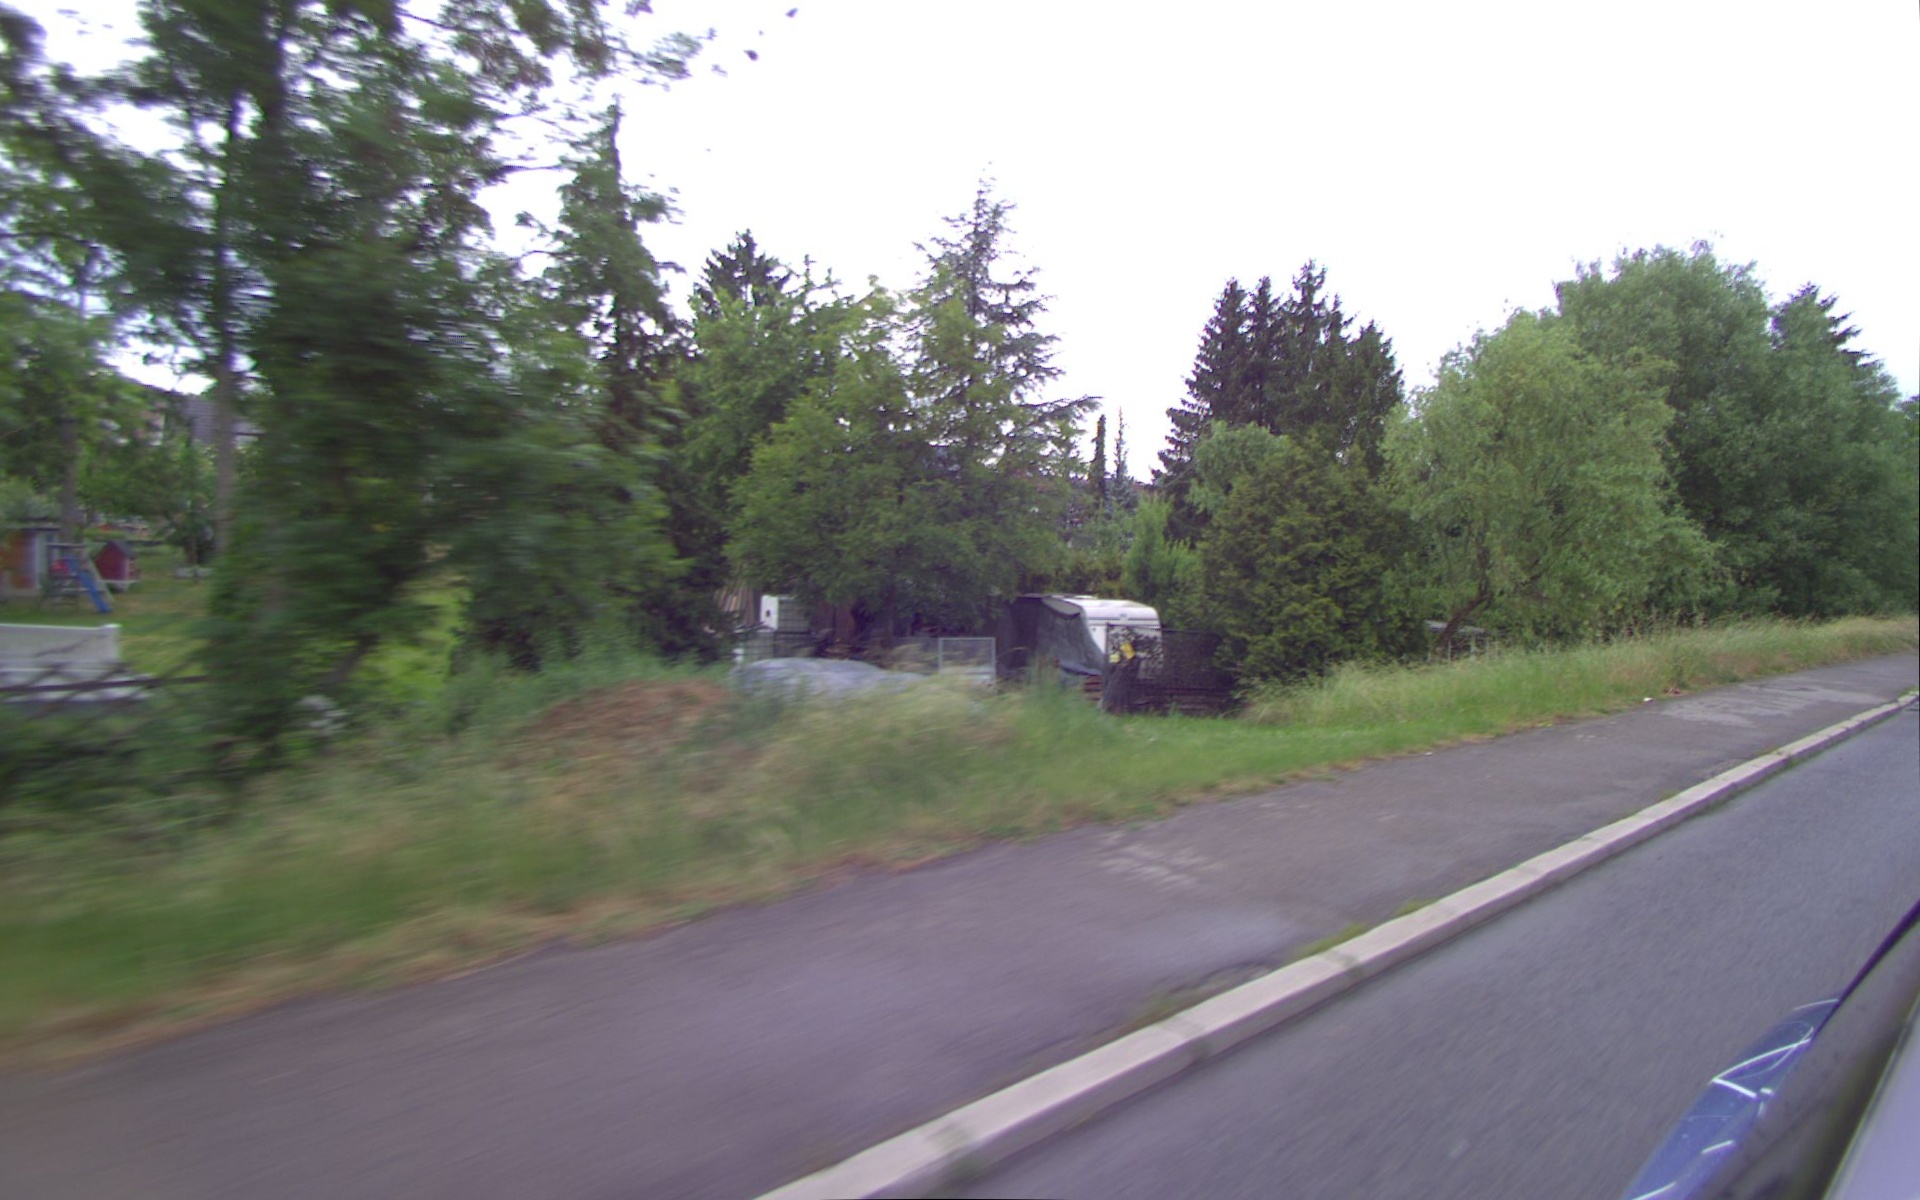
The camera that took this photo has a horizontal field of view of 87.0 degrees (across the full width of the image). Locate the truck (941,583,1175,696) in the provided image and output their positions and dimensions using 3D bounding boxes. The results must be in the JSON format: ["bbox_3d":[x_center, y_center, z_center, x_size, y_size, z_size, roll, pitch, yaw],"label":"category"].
[{"bbox_3d":[2.151,0.795,25.219,2.026,2.388,7.074,0,1,-31],"label":"truck"}]

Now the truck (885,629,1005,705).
[{"bbox_3d":[-0.374,1.401,22.031,1.723,1.415,2.364,0,1,-28],"label":"truck"}]
